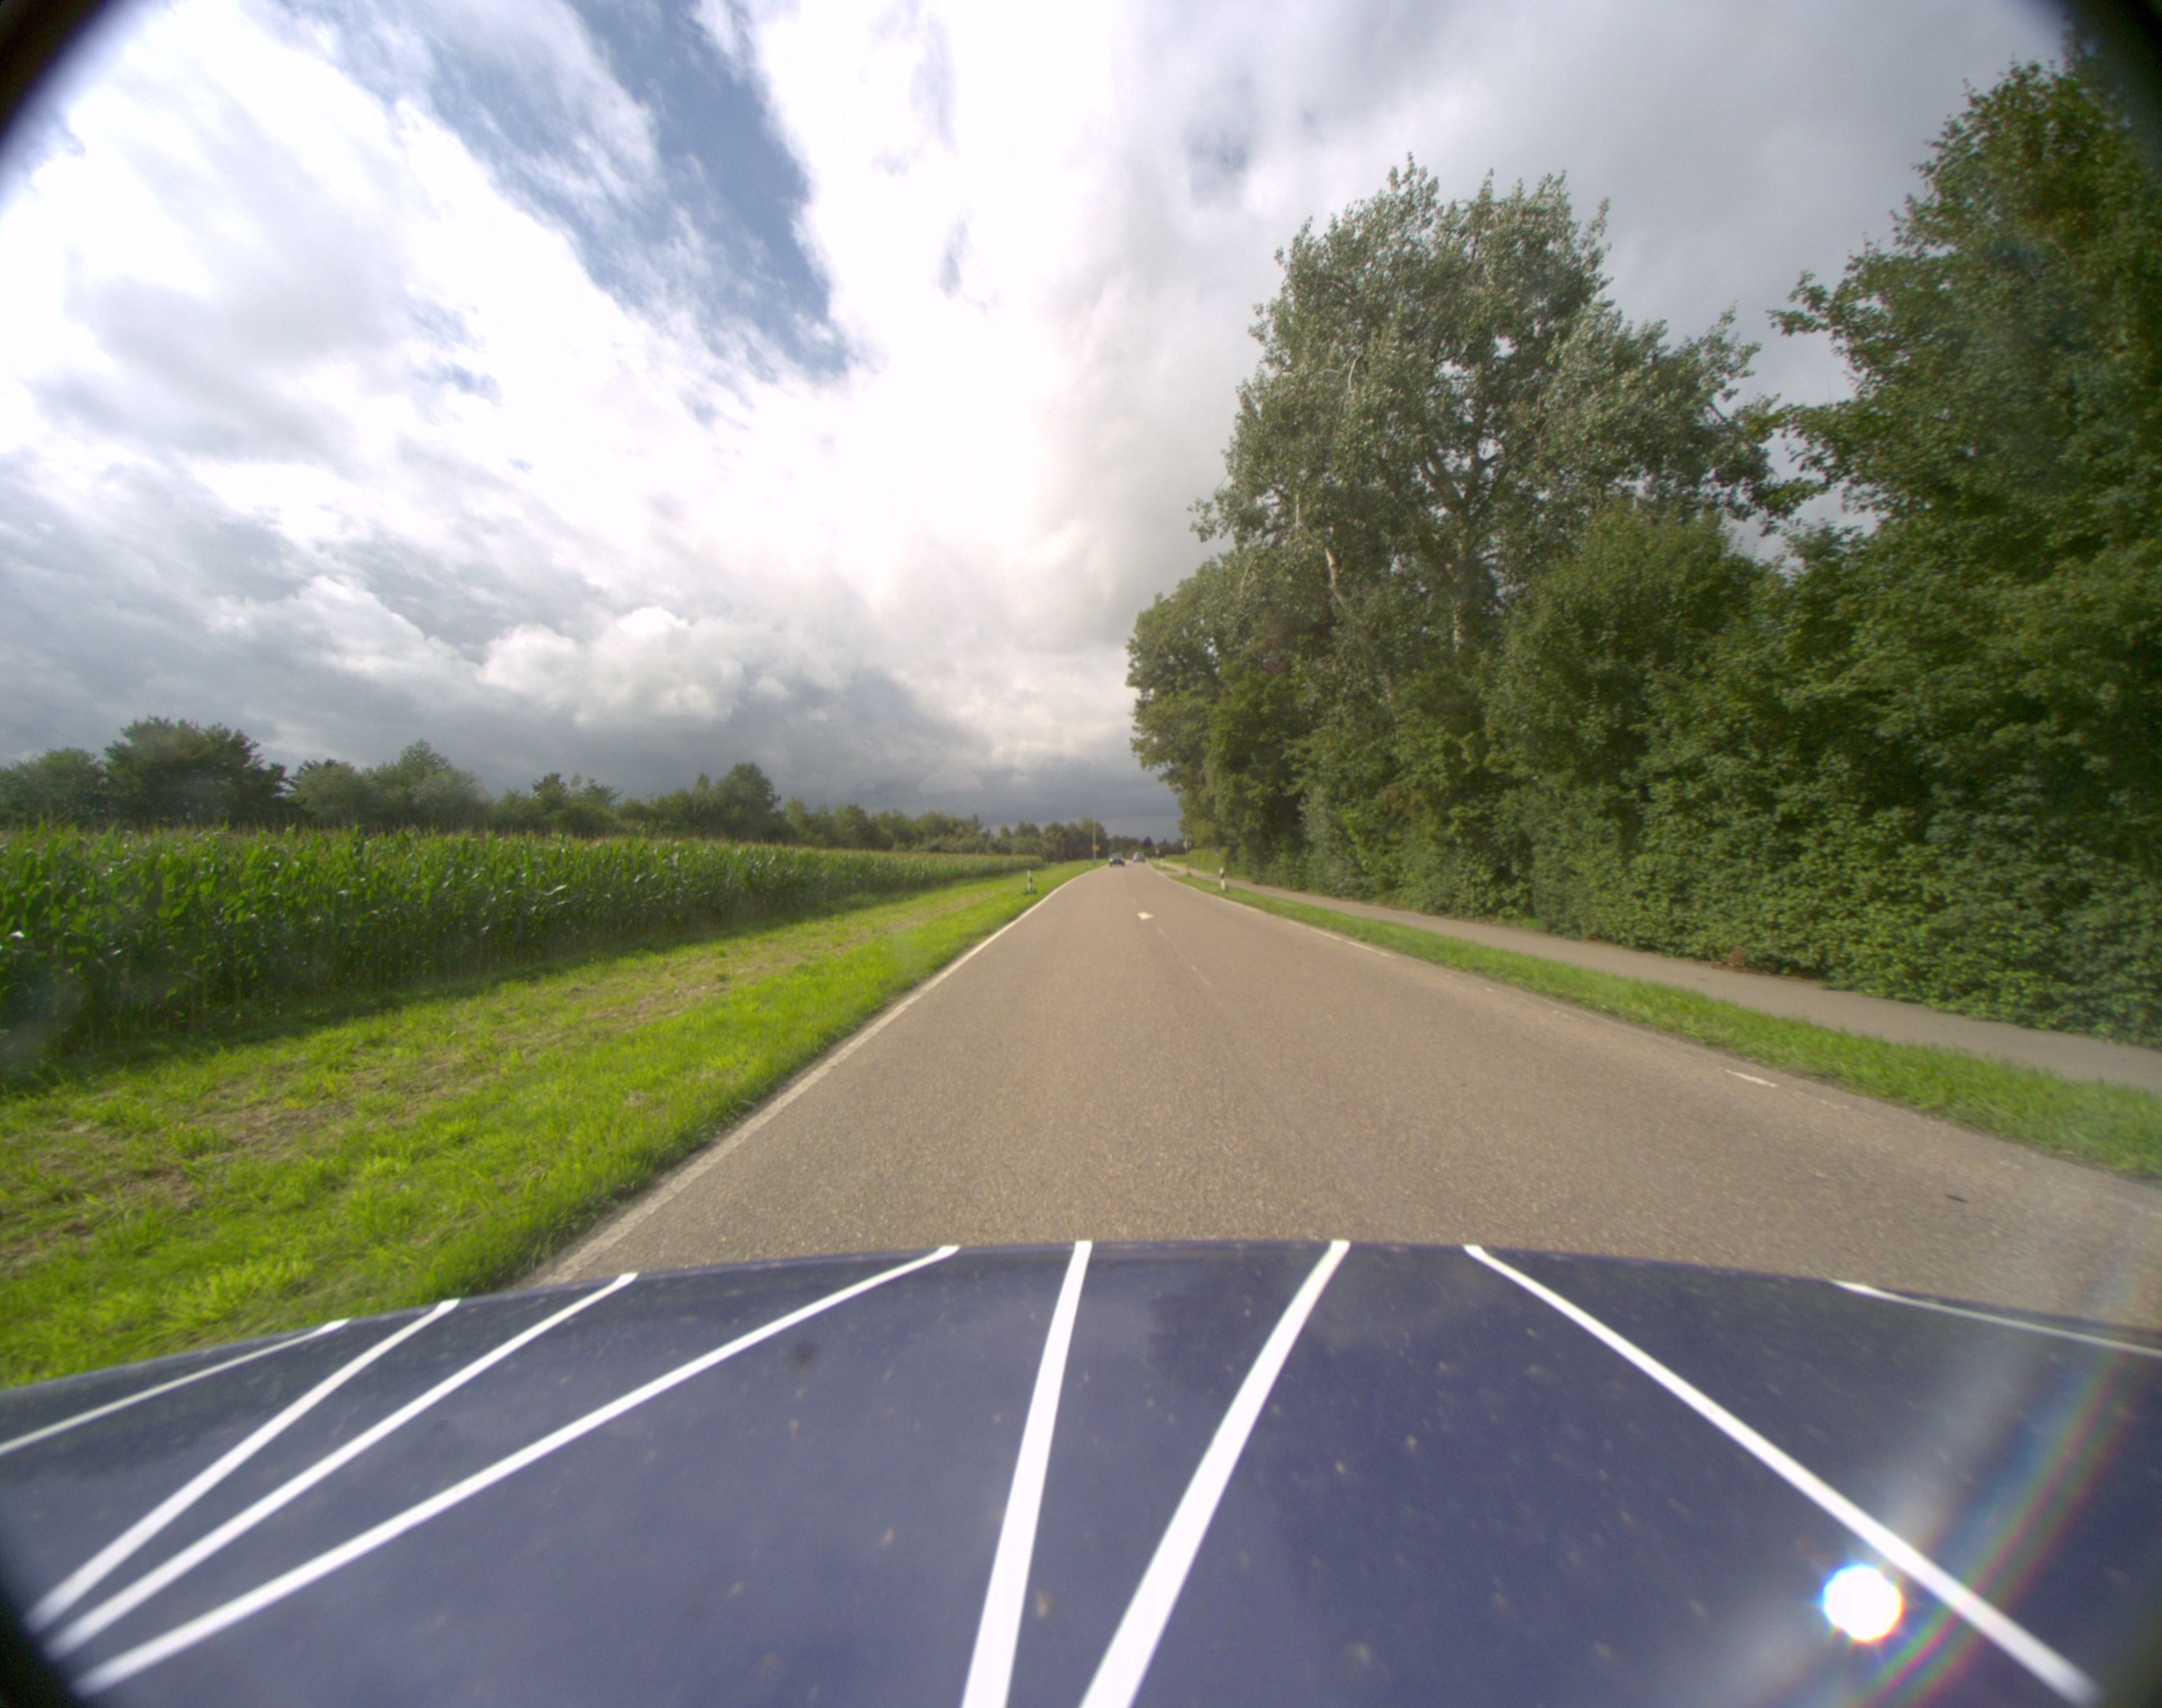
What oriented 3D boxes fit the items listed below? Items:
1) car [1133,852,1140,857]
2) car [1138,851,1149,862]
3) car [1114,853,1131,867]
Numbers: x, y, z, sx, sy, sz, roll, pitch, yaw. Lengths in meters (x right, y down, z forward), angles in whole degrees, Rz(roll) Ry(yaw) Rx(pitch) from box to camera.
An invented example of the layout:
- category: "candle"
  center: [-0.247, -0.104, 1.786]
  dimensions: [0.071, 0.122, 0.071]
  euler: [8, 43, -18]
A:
- category: "car"
  center: [15.802, 0.158, 216.469]
  dimensions: [1.744, 1.462, 4.001]
  euler: [0, 0, 4]
- category: "car"
  center: [10.309, 0.381, 125.124]
  dimensions: [1.815, 1.641, 4.293]
  euler: [1, 1, 4]
- category: "car"
  center: [5.128, 0.745, 94.604]
  dimensions: [1.998, 1.594, 4.001]
  euler: [-2, 0, 4]
